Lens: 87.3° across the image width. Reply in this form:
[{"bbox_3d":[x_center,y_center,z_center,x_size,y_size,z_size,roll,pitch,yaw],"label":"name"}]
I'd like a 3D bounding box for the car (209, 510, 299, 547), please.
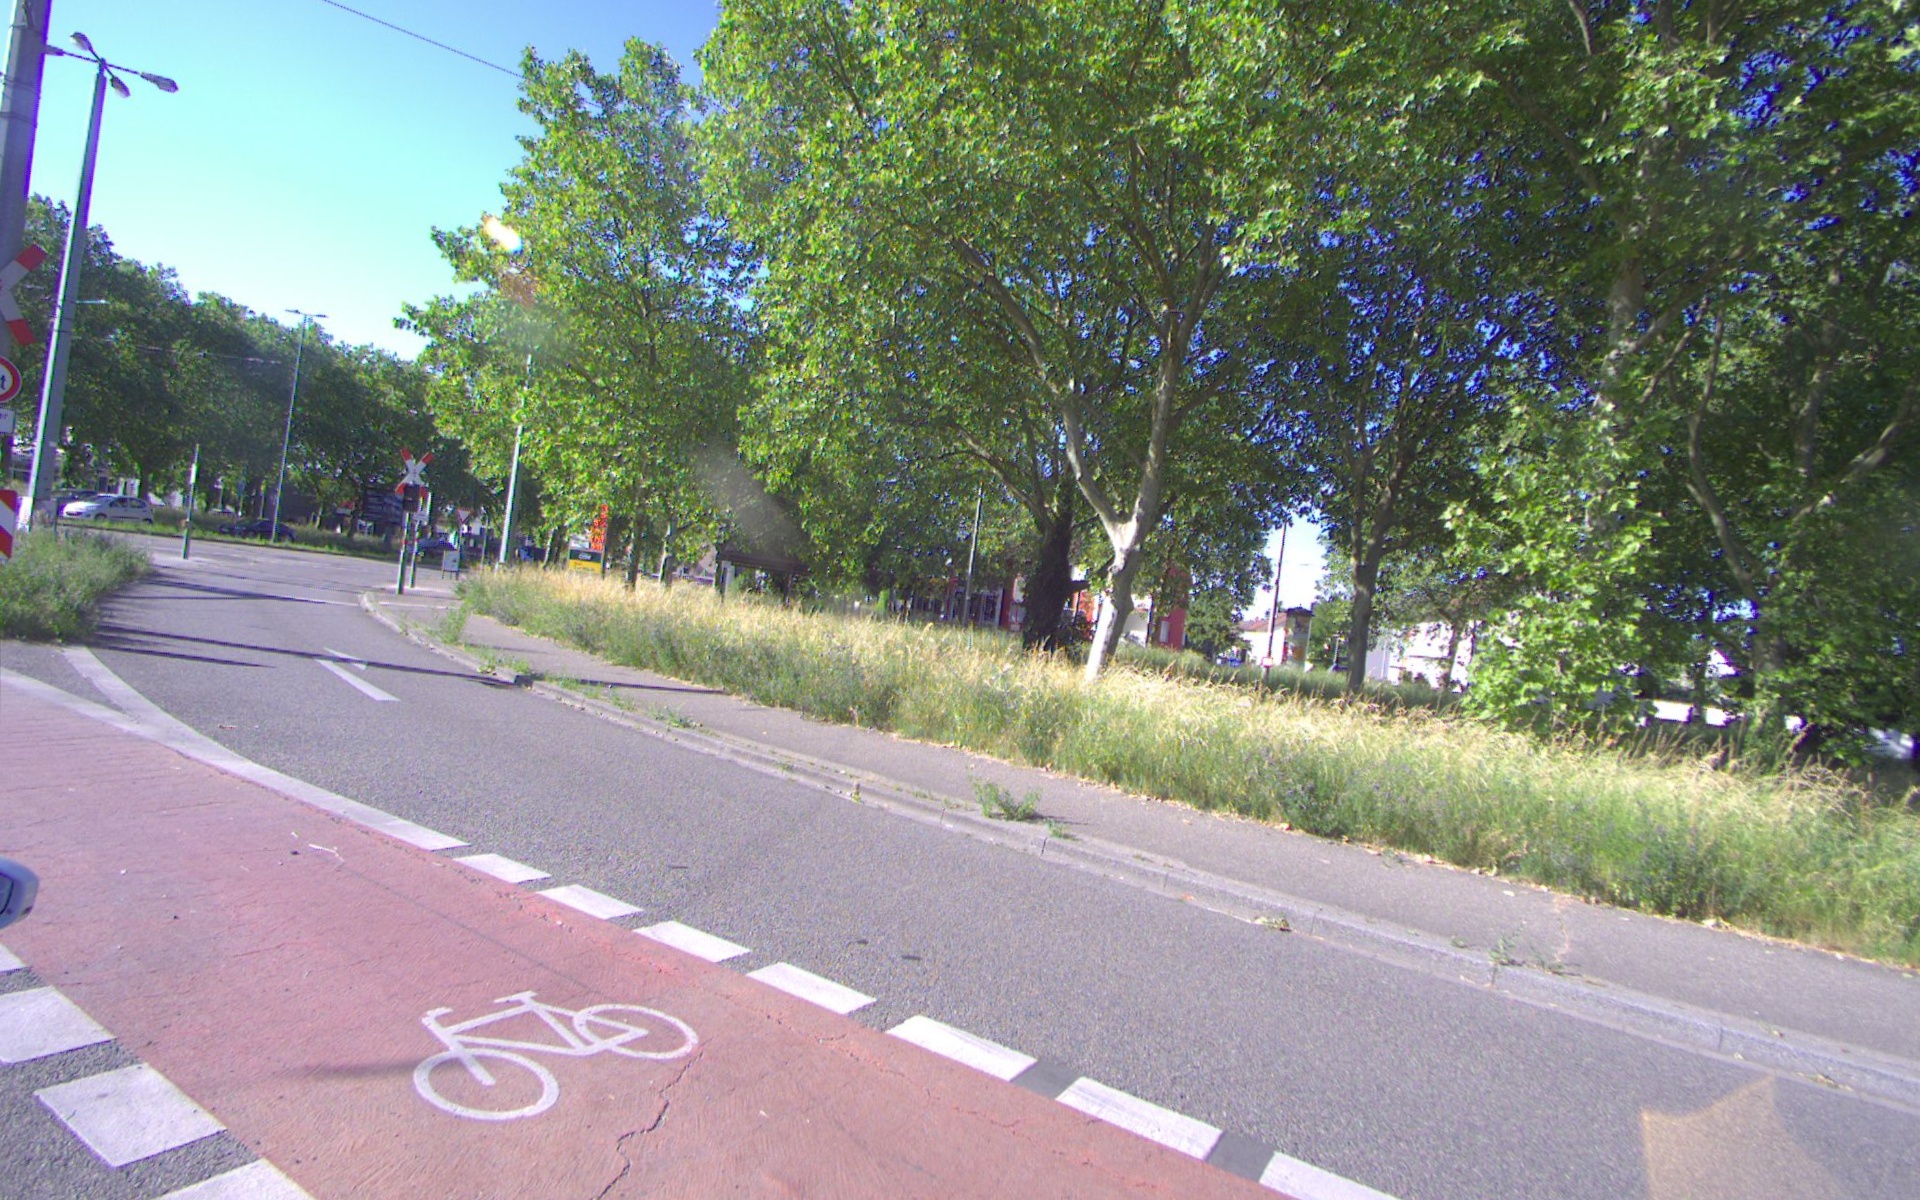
[{"bbox_3d":[-42.960,-4.300,61.310,1.661,1.593,4.528,7,-1,9],"label":"car"}]

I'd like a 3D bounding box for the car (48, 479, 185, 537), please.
[{"bbox_3d":[-41.085,-4.420,49.190,1.962,2.038,4.907,7,-1,9],"label":"car"}]

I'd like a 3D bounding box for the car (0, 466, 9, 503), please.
[{"bbox_3d":[-41.708,-5.047,41.021,1.575,1.549,4.002,7,0,9],"label":"car"}]

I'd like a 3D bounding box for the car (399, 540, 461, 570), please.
[{"bbox_3d":[-35.419,-2.973,67.335,1.562,1.563,3.986,7,-1,6],"label":"car"}]
